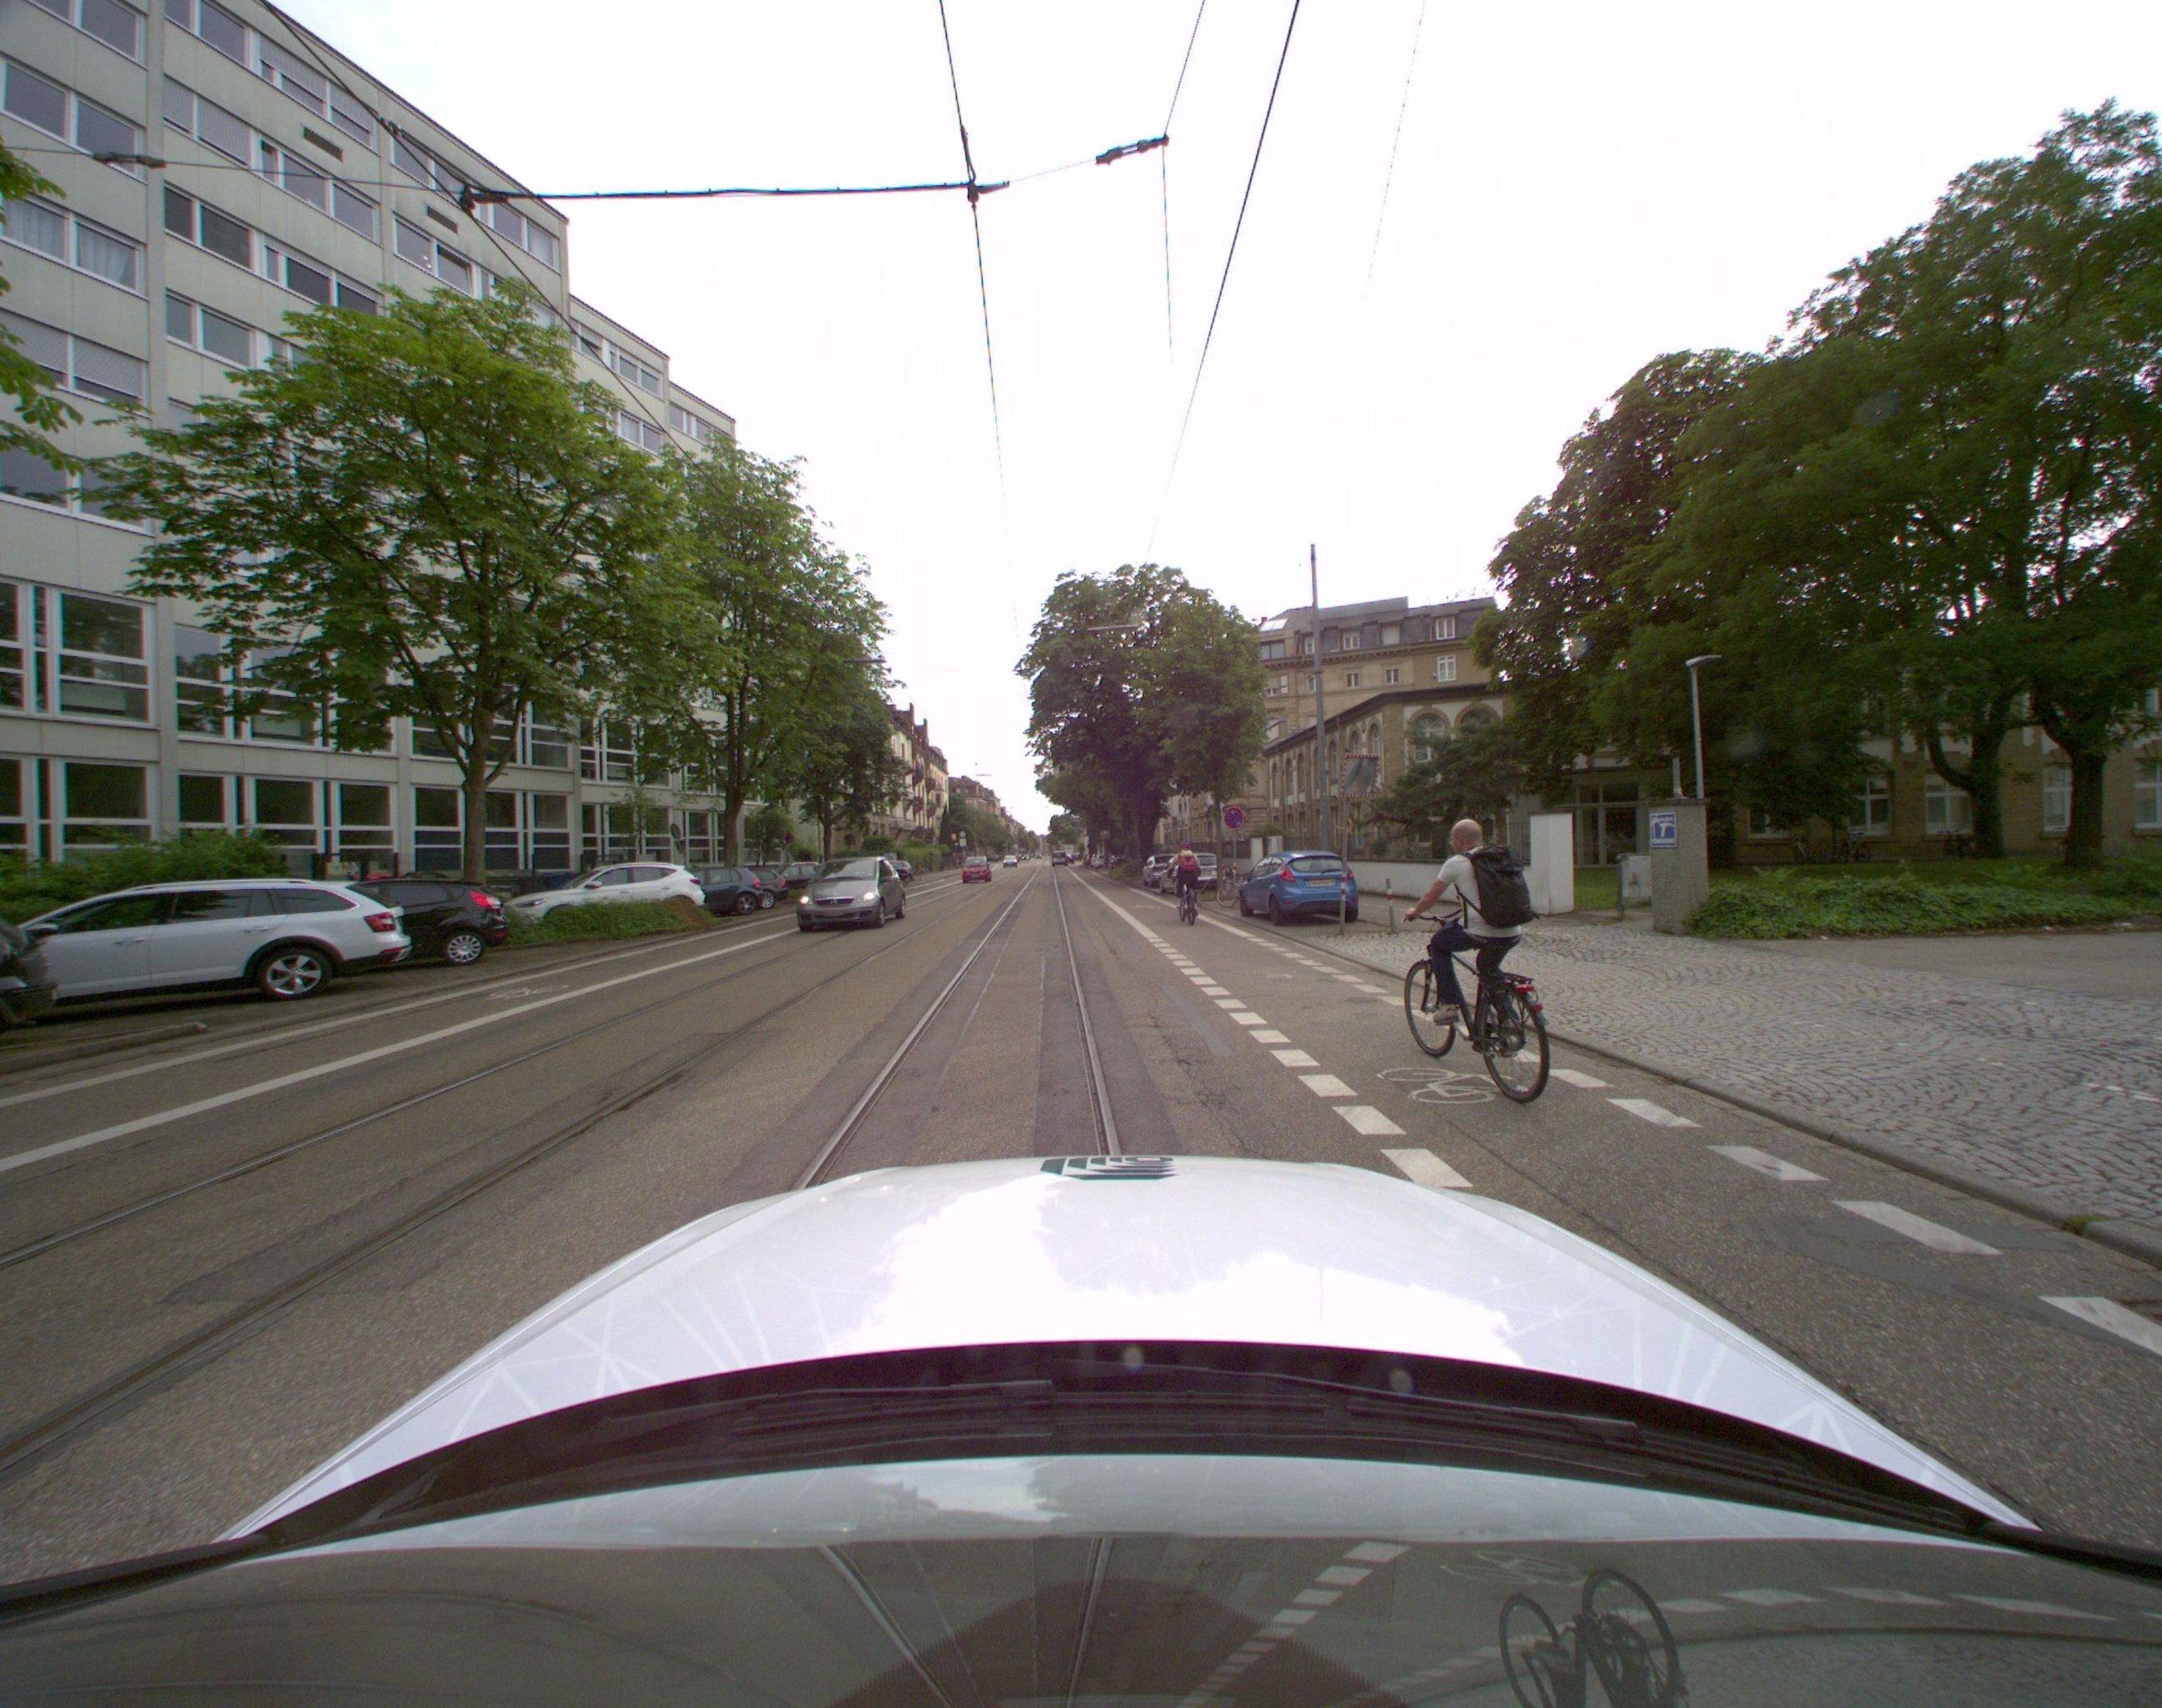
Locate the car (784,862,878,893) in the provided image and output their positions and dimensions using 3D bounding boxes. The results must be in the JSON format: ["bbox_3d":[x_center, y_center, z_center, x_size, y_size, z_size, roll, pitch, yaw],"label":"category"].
[{"bbox_3d":[-11.967,1.107,39.151,1.678,1.351,3.992,-1,0,42],"label":"car"}]

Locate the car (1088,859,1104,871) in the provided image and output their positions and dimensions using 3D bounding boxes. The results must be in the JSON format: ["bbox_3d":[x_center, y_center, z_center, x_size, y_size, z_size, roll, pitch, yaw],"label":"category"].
[{"bbox_3d":[1.787,1.305,98.046,1.764,1.399,3.794,-2,0,0],"label":"car"}]

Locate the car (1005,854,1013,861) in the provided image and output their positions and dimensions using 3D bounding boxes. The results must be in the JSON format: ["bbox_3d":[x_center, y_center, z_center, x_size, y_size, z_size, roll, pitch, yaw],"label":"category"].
[{"bbox_3d":[-20.785,1.028,235.606,1.814,2.067,3.881,-2,0,2],"label":"car"}]

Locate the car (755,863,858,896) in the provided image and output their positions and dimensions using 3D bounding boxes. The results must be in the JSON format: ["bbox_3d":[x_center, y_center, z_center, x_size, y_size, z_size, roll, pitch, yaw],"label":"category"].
[{"bbox_3d":[-12.103,1.081,36.080,1.678,1.351,3.992,-1,0,42],"label":"car"}]

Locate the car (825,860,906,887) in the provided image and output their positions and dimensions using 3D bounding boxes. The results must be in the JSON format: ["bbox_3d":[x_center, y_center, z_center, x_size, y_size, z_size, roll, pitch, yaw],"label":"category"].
[{"bbox_3d":[-11.672,1.032,44.338,1.678,1.351,3.992,-1,0,42],"label":"car"}]

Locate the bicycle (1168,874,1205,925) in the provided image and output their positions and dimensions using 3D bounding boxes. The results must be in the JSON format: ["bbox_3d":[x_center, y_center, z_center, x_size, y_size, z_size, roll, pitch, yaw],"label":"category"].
[{"bbox_3d":[2.239,0.932,17.419,0.488,0.979,2.056,-1,0,-1],"label":"bicycle"}]

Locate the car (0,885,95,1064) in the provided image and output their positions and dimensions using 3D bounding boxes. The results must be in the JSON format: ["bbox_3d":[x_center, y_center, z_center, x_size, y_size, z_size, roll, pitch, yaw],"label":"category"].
[{"bbox_3d":[-11.074,1.092,6.653,1.678,1.524,3.728,-1,0,43],"label":"car"}]

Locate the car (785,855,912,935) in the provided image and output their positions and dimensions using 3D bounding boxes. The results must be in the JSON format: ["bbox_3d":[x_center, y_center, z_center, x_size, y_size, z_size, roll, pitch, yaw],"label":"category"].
[{"bbox_3d":[-5.191,0.848,18.723,1.896,1.530,3.751,-3,0,-2],"label":"car"}]

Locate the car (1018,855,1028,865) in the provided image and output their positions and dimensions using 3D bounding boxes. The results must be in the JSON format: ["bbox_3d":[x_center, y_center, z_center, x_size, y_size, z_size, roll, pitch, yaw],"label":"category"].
[{"bbox_3d":[-13.526,1.321,190.979,2.199,2.255,3.997,-2,0,-2],"label":"car"}]

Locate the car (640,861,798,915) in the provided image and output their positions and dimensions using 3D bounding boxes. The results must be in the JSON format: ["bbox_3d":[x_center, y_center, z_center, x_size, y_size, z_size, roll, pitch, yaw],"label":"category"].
[{"bbox_3d":[-11.621,1.033,26.349,1.678,1.535,4.373,-1,0,42],"label":"car"}]

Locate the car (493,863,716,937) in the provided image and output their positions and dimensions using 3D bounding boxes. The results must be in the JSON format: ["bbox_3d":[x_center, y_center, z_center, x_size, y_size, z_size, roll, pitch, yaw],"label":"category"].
[{"bbox_3d":[-11.424,1.018,19.816,1.678,1.556,4.374,-1,0,39],"label":"car"}]

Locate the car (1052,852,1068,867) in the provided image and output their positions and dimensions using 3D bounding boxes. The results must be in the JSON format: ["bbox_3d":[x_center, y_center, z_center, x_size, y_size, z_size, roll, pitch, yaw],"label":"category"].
[{"bbox_3d":[-2.485,0.640,98.985,1.806,1.708,3.698,-1,-1,0],"label":"car"}]

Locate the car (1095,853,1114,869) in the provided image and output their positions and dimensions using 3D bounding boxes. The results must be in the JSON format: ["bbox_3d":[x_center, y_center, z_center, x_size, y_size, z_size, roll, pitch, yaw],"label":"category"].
[{"bbox_3d":[2.215,0.656,77.850,1.661,1.399,3.661,-2,0,0],"label":"car"}]

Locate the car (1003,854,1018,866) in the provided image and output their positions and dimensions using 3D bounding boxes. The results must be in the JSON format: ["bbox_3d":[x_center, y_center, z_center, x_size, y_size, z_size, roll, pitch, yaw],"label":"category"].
[{"bbox_3d":[-8.700,0.747,100.631,1.738,1.429,3.994,-2,0,-4],"label":"car"}]

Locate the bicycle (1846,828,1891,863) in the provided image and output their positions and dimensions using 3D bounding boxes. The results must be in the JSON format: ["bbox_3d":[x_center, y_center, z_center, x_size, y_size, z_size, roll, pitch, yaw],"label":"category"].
[{"bbox_3d":[27.024,-0.301,27.986,0.611,1.119,2.235,-2,0,31],"label":"bicycle"}]

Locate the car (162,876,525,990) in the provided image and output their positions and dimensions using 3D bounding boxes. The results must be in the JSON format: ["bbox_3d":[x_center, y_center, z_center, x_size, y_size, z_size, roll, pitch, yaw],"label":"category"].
[{"bbox_3d":[-11.318,1.115,12.874,4.049,1.405,1.680,0,0,-40],"label":"car"}]

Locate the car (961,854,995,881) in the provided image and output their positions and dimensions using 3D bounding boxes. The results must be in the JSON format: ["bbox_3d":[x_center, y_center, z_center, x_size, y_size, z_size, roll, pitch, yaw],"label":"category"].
[{"bbox_3d":[-6.028,0.800,47.826,1.672,1.522,2.779,-1,-1,-2],"label":"car"}]

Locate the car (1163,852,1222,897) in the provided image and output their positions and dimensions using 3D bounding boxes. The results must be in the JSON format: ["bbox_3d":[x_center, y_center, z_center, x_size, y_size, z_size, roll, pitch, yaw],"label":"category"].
[{"bbox_3d":[3.929,0.672,29.136,1.472,1.481,3.562,-1,0,-3],"label":"car"}]

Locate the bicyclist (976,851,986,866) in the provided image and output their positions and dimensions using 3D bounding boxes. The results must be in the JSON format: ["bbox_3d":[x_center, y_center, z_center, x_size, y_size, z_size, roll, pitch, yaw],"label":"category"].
[{"bbox_3d":[-10.769,0.467,87.855,0.841,1.500,1.027,-2,0,-1],"label":"bicyclist"}]

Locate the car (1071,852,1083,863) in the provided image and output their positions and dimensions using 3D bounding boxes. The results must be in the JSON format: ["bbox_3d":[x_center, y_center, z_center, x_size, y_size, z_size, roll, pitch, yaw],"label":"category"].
[{"bbox_3d":[-0.757,0.690,159.610,1.990,2.013,3.994,-2,0,-4],"label":"car"}]

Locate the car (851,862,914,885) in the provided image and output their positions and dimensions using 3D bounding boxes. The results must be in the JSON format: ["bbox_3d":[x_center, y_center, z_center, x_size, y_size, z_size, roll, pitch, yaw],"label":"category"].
[{"bbox_3d":[-12.870,1.221,52.803,3.727,1.386,1.685,0,0,-27],"label":"car"}]

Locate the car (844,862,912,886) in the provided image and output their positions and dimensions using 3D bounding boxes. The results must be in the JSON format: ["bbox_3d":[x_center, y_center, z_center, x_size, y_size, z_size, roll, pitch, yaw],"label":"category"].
[{"bbox_3d":[-12.426,1.186,49.841,3.727,1.386,1.685,0,0,-27],"label":"car"}]

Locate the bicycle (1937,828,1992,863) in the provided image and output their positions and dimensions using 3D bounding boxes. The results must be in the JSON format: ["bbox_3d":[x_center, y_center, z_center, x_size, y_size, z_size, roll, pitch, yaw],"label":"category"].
[{"bbox_3d":[29.306,-0.296,27.058,0.611,1.119,2.235,-2,0,31],"label":"bicycle"}]

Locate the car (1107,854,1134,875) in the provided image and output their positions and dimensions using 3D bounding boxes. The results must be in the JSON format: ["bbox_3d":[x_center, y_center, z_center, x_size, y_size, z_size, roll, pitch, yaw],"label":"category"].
[{"bbox_3d":[2.830,0.710,58.881,1.785,1.399,3.794,-2,0,0],"label":"car"}]

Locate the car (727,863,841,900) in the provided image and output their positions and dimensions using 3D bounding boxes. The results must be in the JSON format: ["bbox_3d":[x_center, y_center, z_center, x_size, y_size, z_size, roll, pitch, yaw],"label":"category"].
[{"bbox_3d":[-11.918,1.048,32.810,1.678,1.351,3.992,-1,0,42],"label":"car"}]

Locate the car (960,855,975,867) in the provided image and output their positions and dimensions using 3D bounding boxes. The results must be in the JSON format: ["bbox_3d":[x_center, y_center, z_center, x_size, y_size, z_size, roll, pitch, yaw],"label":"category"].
[{"bbox_3d":[-21.152,1.249,151.425,2.171,2.207,4.216,-2,0,-1],"label":"car"}]

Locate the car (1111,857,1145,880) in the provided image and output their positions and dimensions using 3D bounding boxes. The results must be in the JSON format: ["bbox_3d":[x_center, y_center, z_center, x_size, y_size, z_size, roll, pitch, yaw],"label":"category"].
[{"bbox_3d":[2.901,0.875,50.824,1.867,1.251,4.000,-2,0,0],"label":"car"}]

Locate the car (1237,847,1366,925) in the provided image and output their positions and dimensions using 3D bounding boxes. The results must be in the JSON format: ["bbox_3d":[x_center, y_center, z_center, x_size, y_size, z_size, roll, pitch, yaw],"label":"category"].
[{"bbox_3d":[4.556,0.608,17.283,1.670,1.460,3.429,-1,0,-3],"label":"car"}]

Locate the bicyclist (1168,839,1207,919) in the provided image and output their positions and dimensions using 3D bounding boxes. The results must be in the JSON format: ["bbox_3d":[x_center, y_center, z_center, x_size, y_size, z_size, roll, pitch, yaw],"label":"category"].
[{"bbox_3d":[2.241,0.511,17.198,0.656,1.610,0.919,-2,0,-1],"label":"bicyclist"}]

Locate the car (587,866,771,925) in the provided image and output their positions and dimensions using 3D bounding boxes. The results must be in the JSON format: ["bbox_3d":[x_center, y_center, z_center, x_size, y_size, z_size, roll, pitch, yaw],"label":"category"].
[{"bbox_3d":[-11.296,1.097,23.097,1.678,1.454,4.373,-1,0,42],"label":"car"}]

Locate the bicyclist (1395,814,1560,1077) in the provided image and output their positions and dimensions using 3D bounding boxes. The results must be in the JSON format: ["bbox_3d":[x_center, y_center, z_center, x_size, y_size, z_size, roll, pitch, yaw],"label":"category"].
[{"bbox_3d":[2.562,0.547,5.368,0.658,1.569,0.987,-1,0,6],"label":"bicyclist"}]

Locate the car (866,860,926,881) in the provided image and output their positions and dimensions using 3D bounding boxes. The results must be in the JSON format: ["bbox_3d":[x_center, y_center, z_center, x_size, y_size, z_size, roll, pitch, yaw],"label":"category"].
[{"bbox_3d":[-12.725,1.131,55.916,3.727,1.386,1.685,0,0,-27],"label":"car"}]

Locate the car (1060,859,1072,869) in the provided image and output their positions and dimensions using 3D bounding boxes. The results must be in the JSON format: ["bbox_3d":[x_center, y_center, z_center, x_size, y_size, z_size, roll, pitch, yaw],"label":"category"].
[{"bbox_3d":[-2.394,1.570,127.322,1.764,1.399,3.794,-2,0,0],"label":"car"}]

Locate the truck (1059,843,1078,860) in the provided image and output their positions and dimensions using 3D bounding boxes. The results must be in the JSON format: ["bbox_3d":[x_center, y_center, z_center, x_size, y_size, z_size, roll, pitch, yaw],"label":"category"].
[{"bbox_3d":[-3.170,-0.608,198.944,3.802,4.029,10.199,-2,0,-5],"label":"truck"}]

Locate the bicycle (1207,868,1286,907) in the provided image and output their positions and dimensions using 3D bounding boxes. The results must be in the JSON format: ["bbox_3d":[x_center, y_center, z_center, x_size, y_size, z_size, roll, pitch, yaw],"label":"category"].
[{"bbox_3d":[4.470,0.893,22.028,2.010,0.957,0.533,-2,0,-6],"label":"bicycle"}]

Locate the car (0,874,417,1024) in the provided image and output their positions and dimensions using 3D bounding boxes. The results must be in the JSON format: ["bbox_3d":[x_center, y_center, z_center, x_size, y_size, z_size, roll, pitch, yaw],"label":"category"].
[{"bbox_3d":[-10.906,1.046,10.158,4.049,1.484,1.680,0,0,-40],"label":"car"}]

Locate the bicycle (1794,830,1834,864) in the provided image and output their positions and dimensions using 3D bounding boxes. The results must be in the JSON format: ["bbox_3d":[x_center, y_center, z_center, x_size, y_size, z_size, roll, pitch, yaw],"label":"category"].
[{"bbox_3d":[25.832,-0.256,28.742,0.611,1.119,2.235,-2,0,31],"label":"bicycle"}]

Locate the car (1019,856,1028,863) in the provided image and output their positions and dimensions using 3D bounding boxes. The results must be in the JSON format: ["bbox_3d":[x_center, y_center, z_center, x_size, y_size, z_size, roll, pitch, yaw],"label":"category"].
[{"bbox_3d":[-15.302,1.433,217.125,1.766,1.643,3.567,-2,0,2],"label":"car"}]

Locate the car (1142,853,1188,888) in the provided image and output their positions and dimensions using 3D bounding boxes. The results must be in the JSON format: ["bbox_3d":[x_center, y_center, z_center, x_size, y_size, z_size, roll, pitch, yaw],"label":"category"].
[{"bbox_3d":[3.705,0.704,36.327,1.472,1.428,3.562,-2,0,-3],"label":"car"}]

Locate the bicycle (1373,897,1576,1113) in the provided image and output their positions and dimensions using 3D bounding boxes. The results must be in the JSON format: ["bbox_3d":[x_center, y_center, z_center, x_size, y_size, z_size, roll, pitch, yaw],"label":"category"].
[{"bbox_3d":[2.585,0.913,5.596,0.661,1.117,1.869,0,0,6],"label":"bicycle"}]

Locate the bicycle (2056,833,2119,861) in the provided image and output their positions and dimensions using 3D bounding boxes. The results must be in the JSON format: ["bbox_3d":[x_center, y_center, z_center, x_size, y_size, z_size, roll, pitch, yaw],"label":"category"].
[{"bbox_3d":[31.902,-0.230,25.839,0.611,0.813,1.957,-2,0,31],"label":"bicycle"}]

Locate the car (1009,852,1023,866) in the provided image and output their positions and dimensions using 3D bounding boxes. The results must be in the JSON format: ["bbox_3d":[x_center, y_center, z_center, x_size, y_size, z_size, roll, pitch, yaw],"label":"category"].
[{"bbox_3d":[-11.689,0.848,146.685,2.199,2.417,3.997,-2,0,-2],"label":"car"}]
